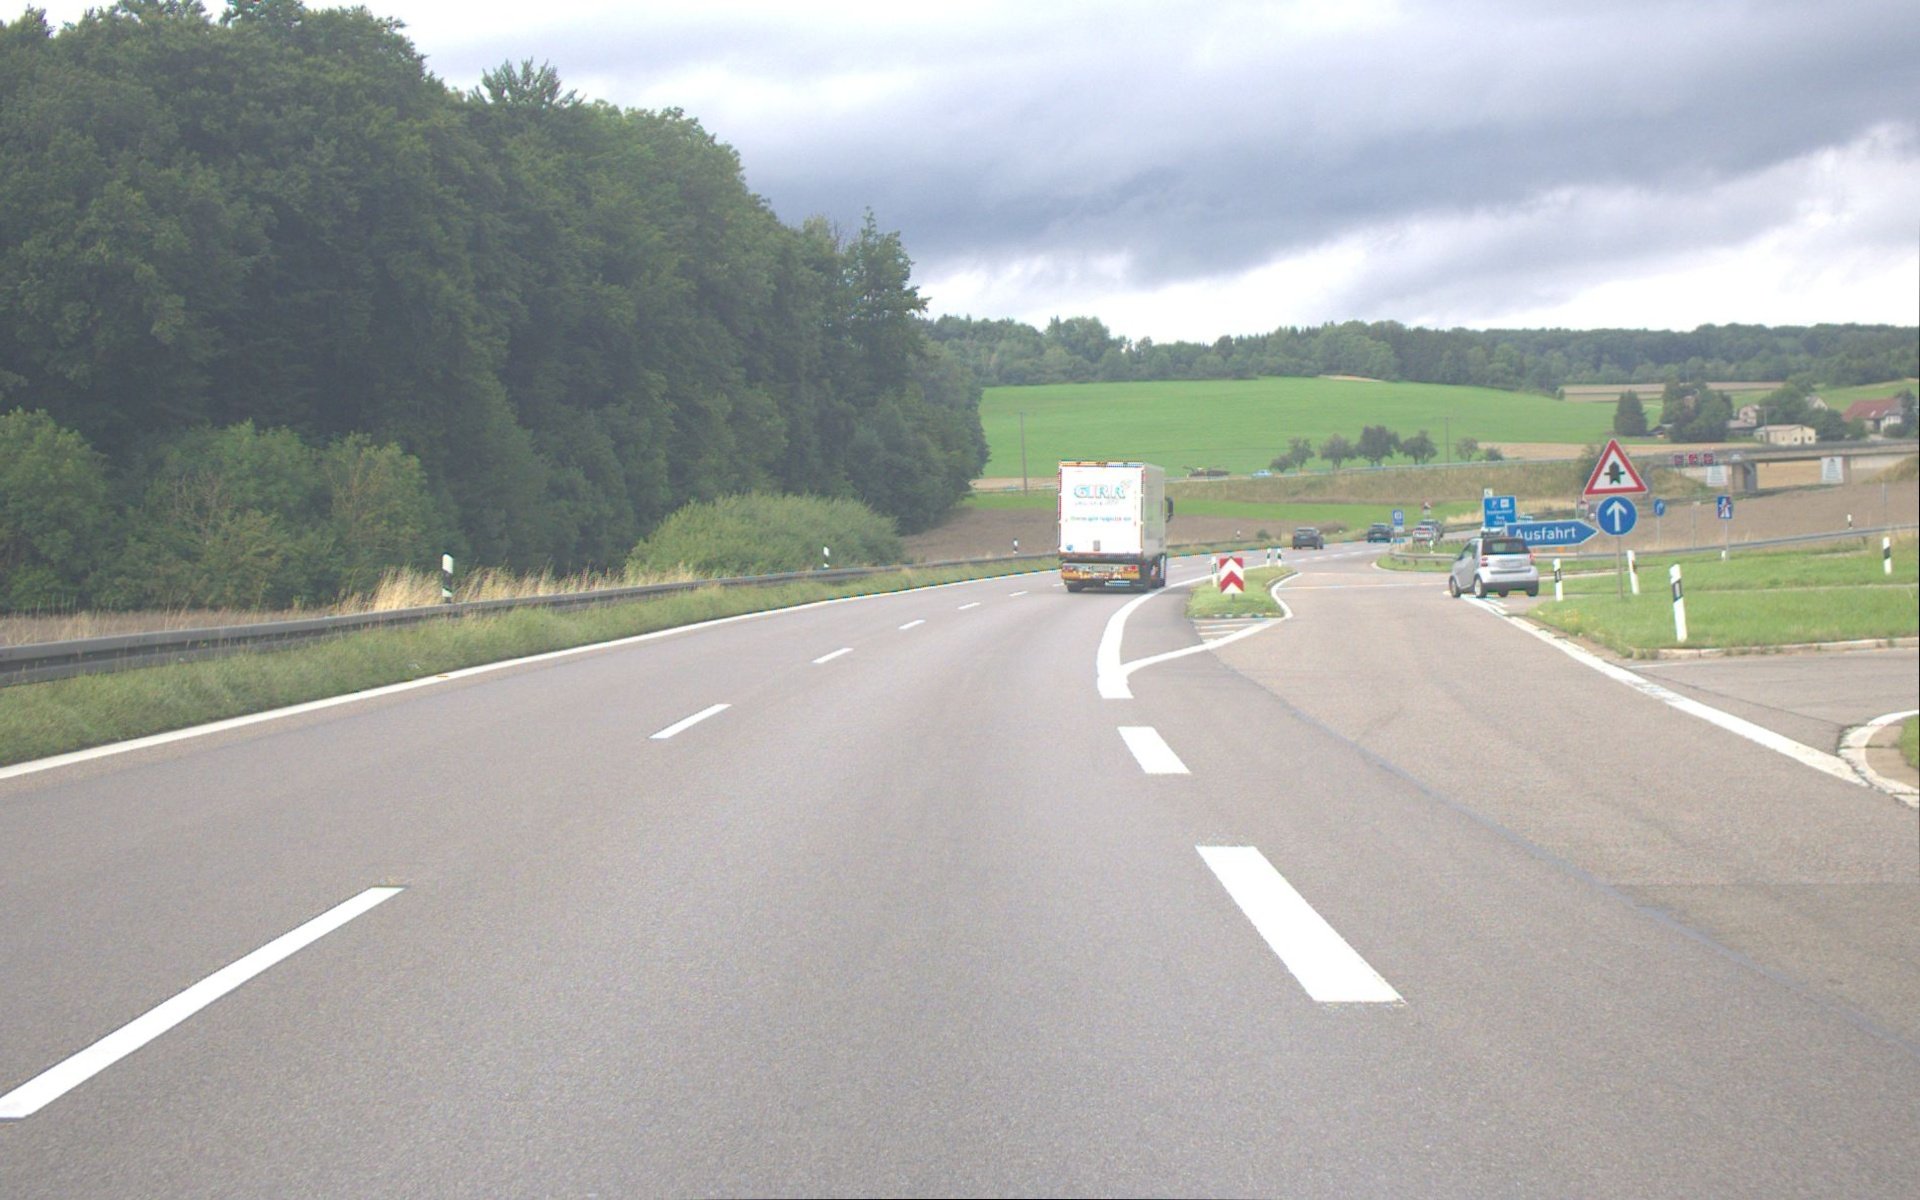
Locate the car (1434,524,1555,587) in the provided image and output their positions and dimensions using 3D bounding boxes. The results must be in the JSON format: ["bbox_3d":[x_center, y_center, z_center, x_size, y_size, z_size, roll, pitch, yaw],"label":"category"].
[{"bbox_3d":[13.706,-1.164,88.376,1.777,1.546,4.001,-2,2,-11],"label":"car"}]

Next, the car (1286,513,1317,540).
[{"bbox_3d":[24.901,-5.346,250.895,1.904,1.789,3.998,0,-1,11],"label":"car"}]

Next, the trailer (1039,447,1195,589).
[{"bbox_3d":[5.139,-2.592,109.226,3.807,4.160,14.805,1,1,7],"label":"trailer"}]

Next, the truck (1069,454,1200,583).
[{"bbox_3d":[5.952,-2.755,115.885,3.789,4.117,8.263,1,1,7],"label":"truck"}]
